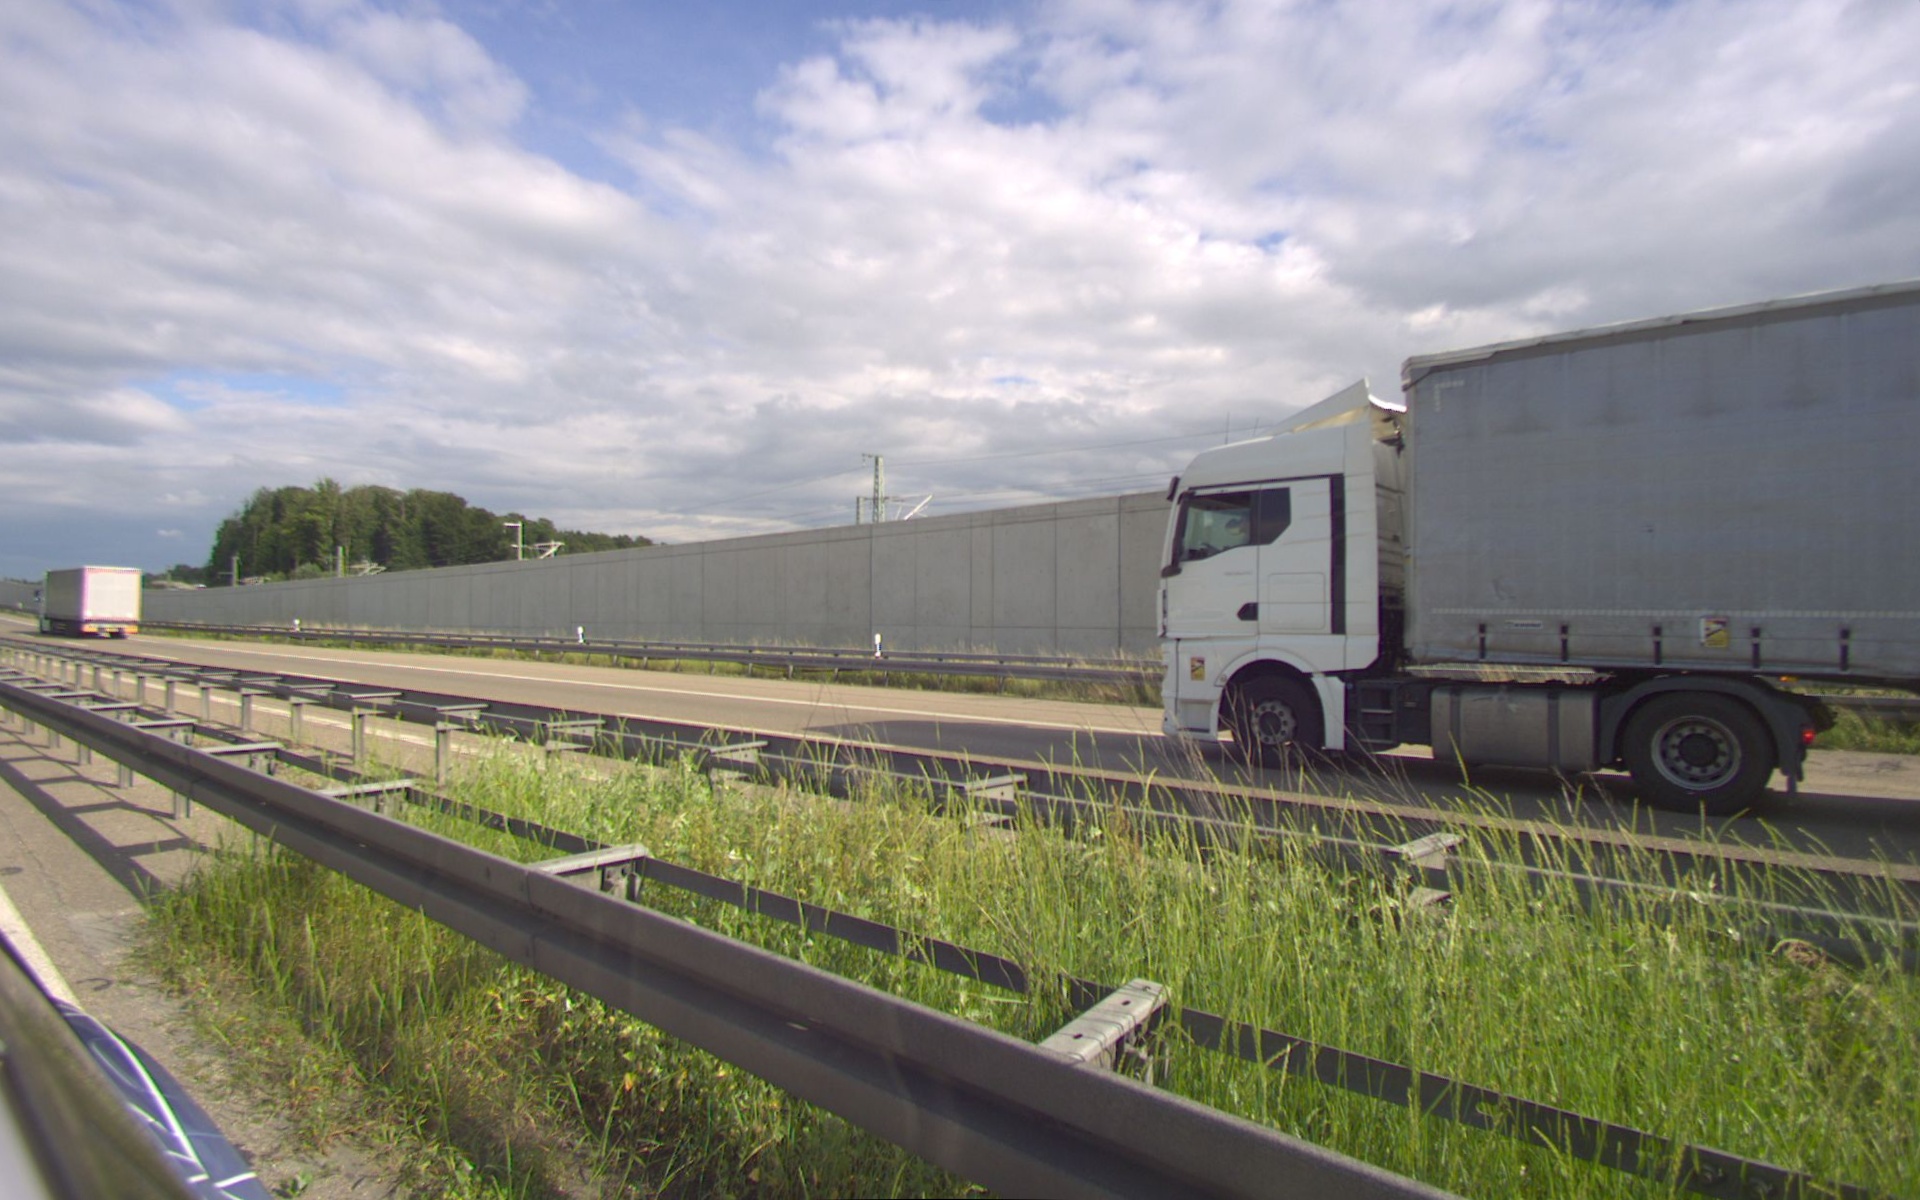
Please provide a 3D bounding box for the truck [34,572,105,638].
[{"bbox_3d":[-58.102,0.399,65.959,5.876,4.099,2.657,-1,-2,41],"label":"truck"}]

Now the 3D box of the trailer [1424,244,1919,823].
[{"bbox_3d":[10.282,-0.483,5.962,13.511,4.108,2.761,-1,-3,41],"label":"trailer"}]

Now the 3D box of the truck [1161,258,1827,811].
[{"bbox_3d":[5.192,-0.412,10.376,5.528,4.119,2.747,-1,-3,41],"label":"truck"}]

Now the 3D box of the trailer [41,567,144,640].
[{"bbox_3d":[-52.676,0.319,61.236,13.783,4.069,2.656,-1,-2,41],"label":"trailer"}]
